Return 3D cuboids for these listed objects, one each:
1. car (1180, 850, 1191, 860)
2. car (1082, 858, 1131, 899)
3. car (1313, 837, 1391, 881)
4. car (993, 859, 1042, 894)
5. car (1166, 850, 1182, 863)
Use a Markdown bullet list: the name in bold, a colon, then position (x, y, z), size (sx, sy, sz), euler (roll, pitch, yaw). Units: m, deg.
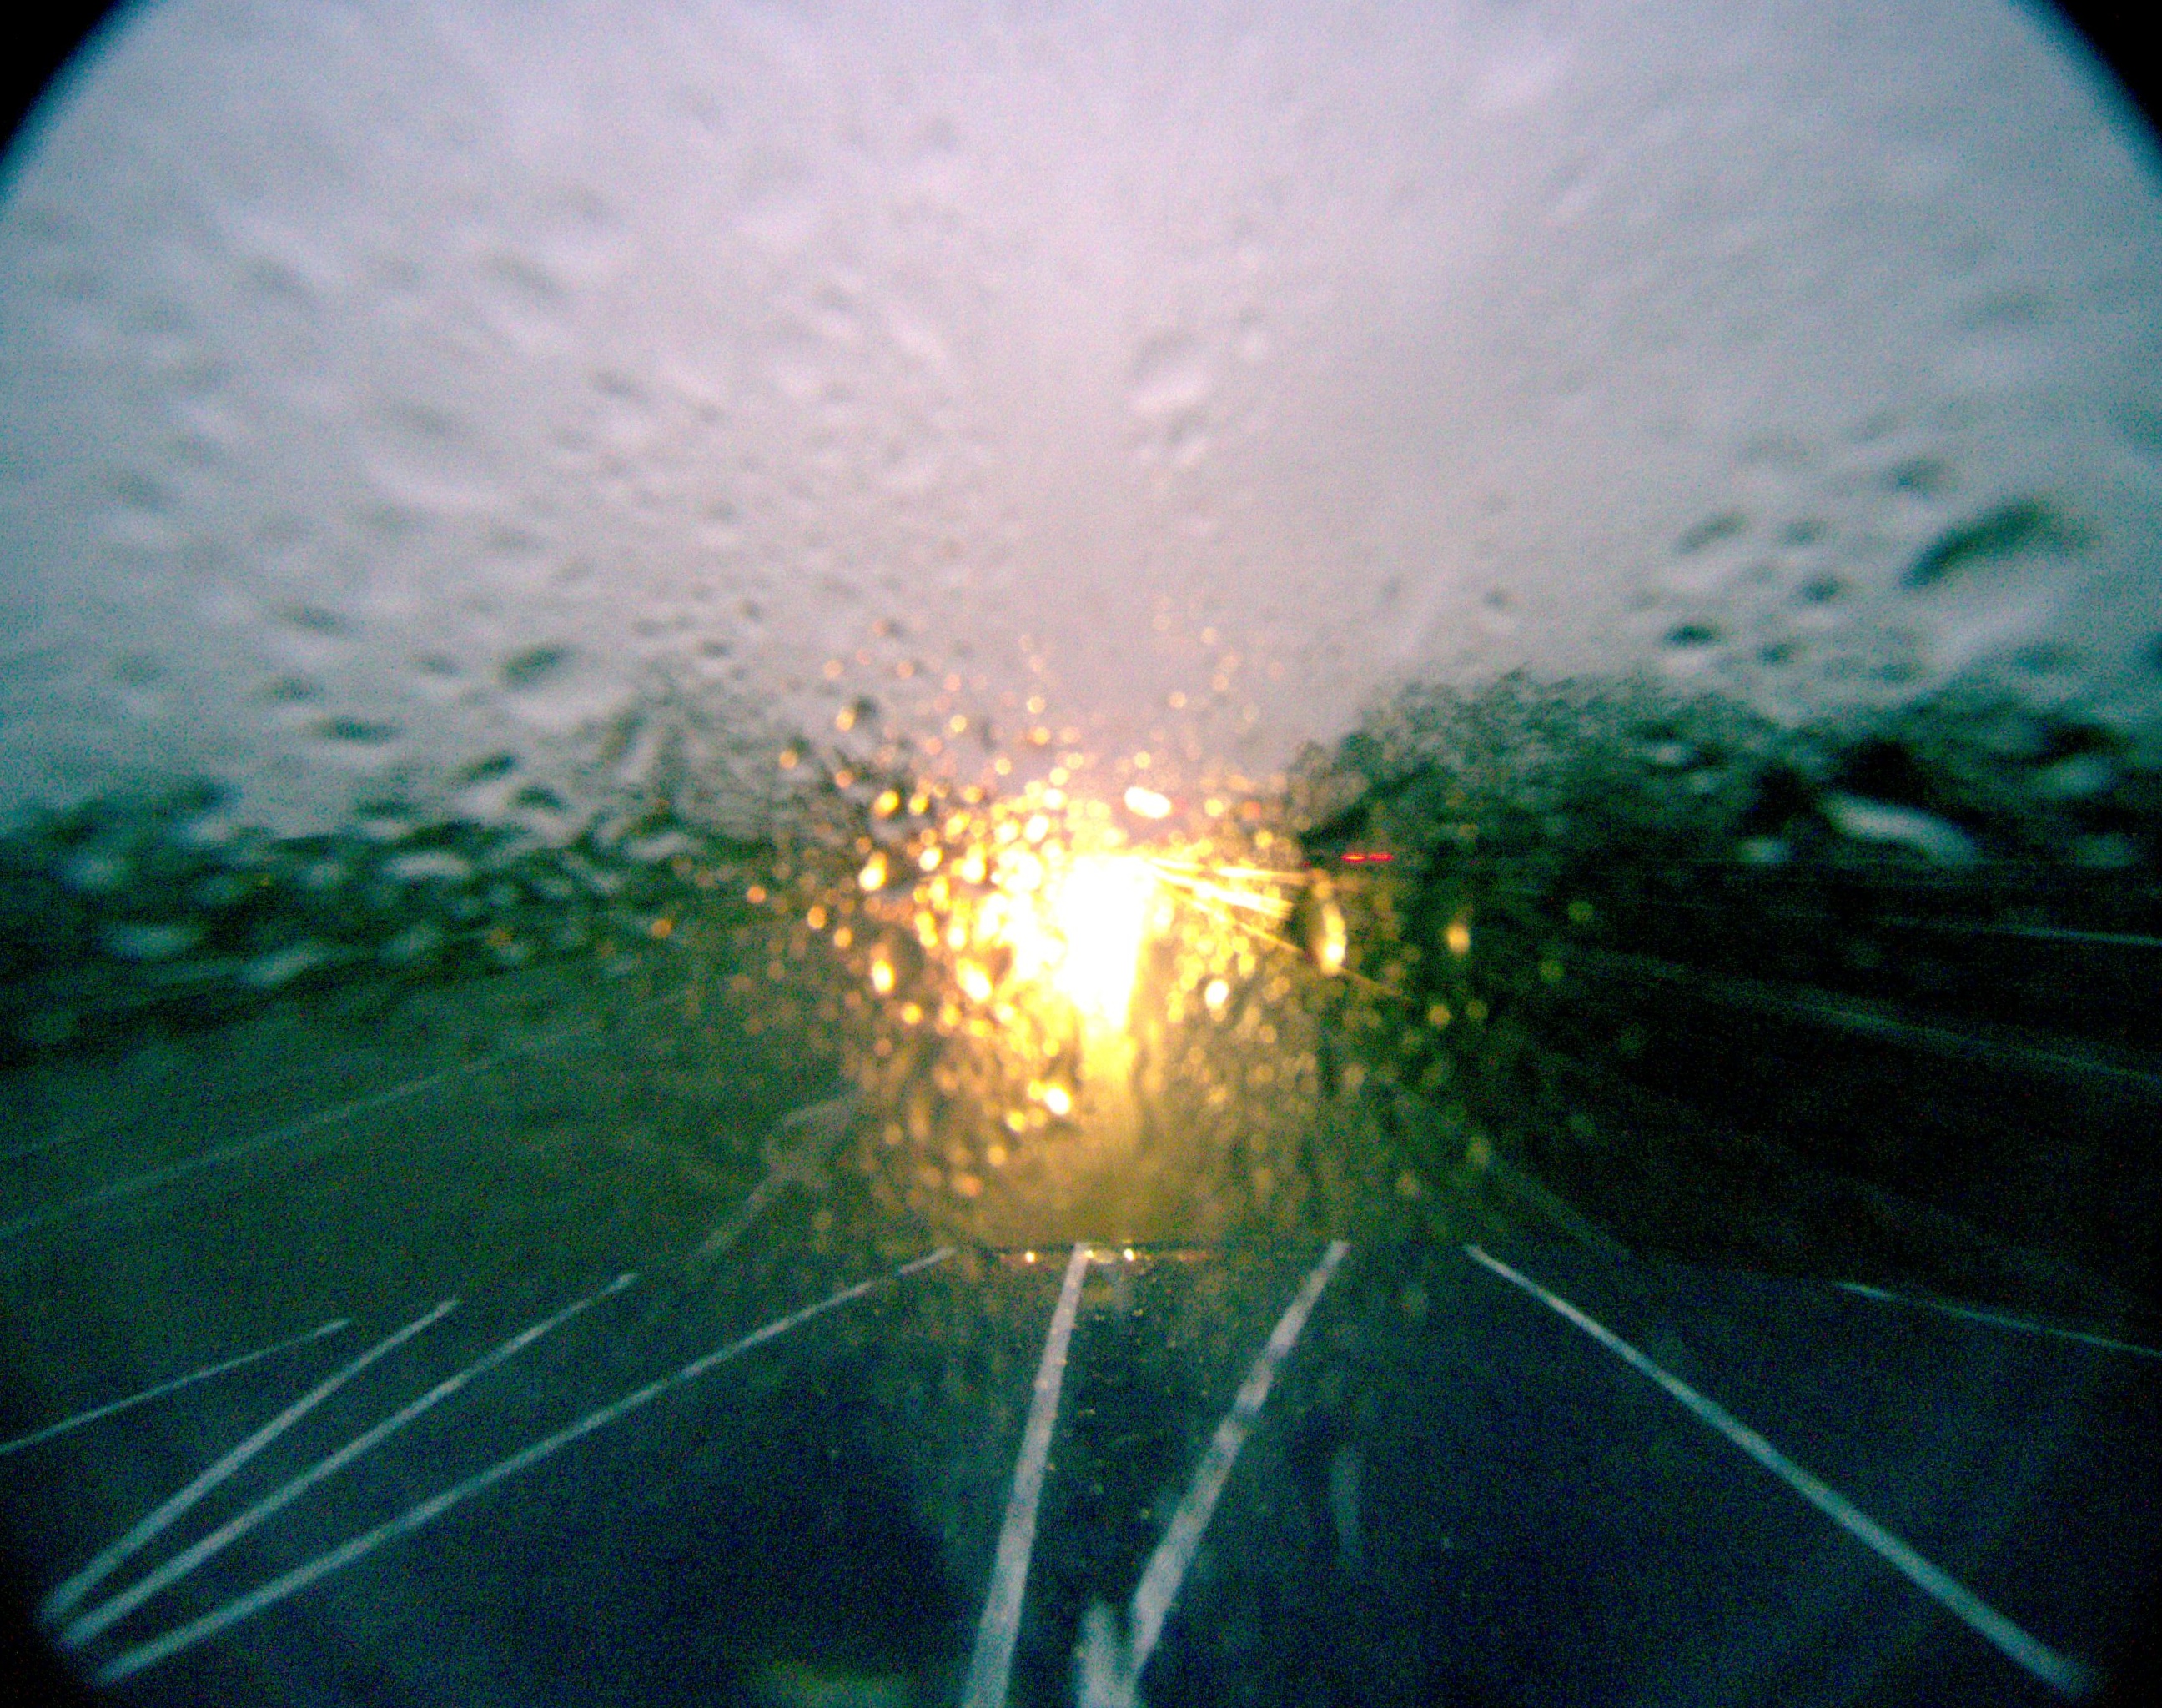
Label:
- **car**: position (19.681, 0.214, 143.380), size (1.749, 1.823, 4.136), euler (-1, 1, 4)
- **car**: position (1.062, 0.969, 31.480), size (1.850, 1.521, 4.149), euler (-2, 0, 2)
- **car**: position (12.258, 0.204, 34.691), size (1.900, 1.773, 4.704), euler (-3, 0, 2)
- **car**: position (-3.038, 1.057, 37.200), size (1.850, 1.521, 4.149), euler (-2, 0, 2)
- **car**: position (11.983, 0.305, 97.907), size (1.744, 1.630, 4.001), euler (-4, 0, 4)
